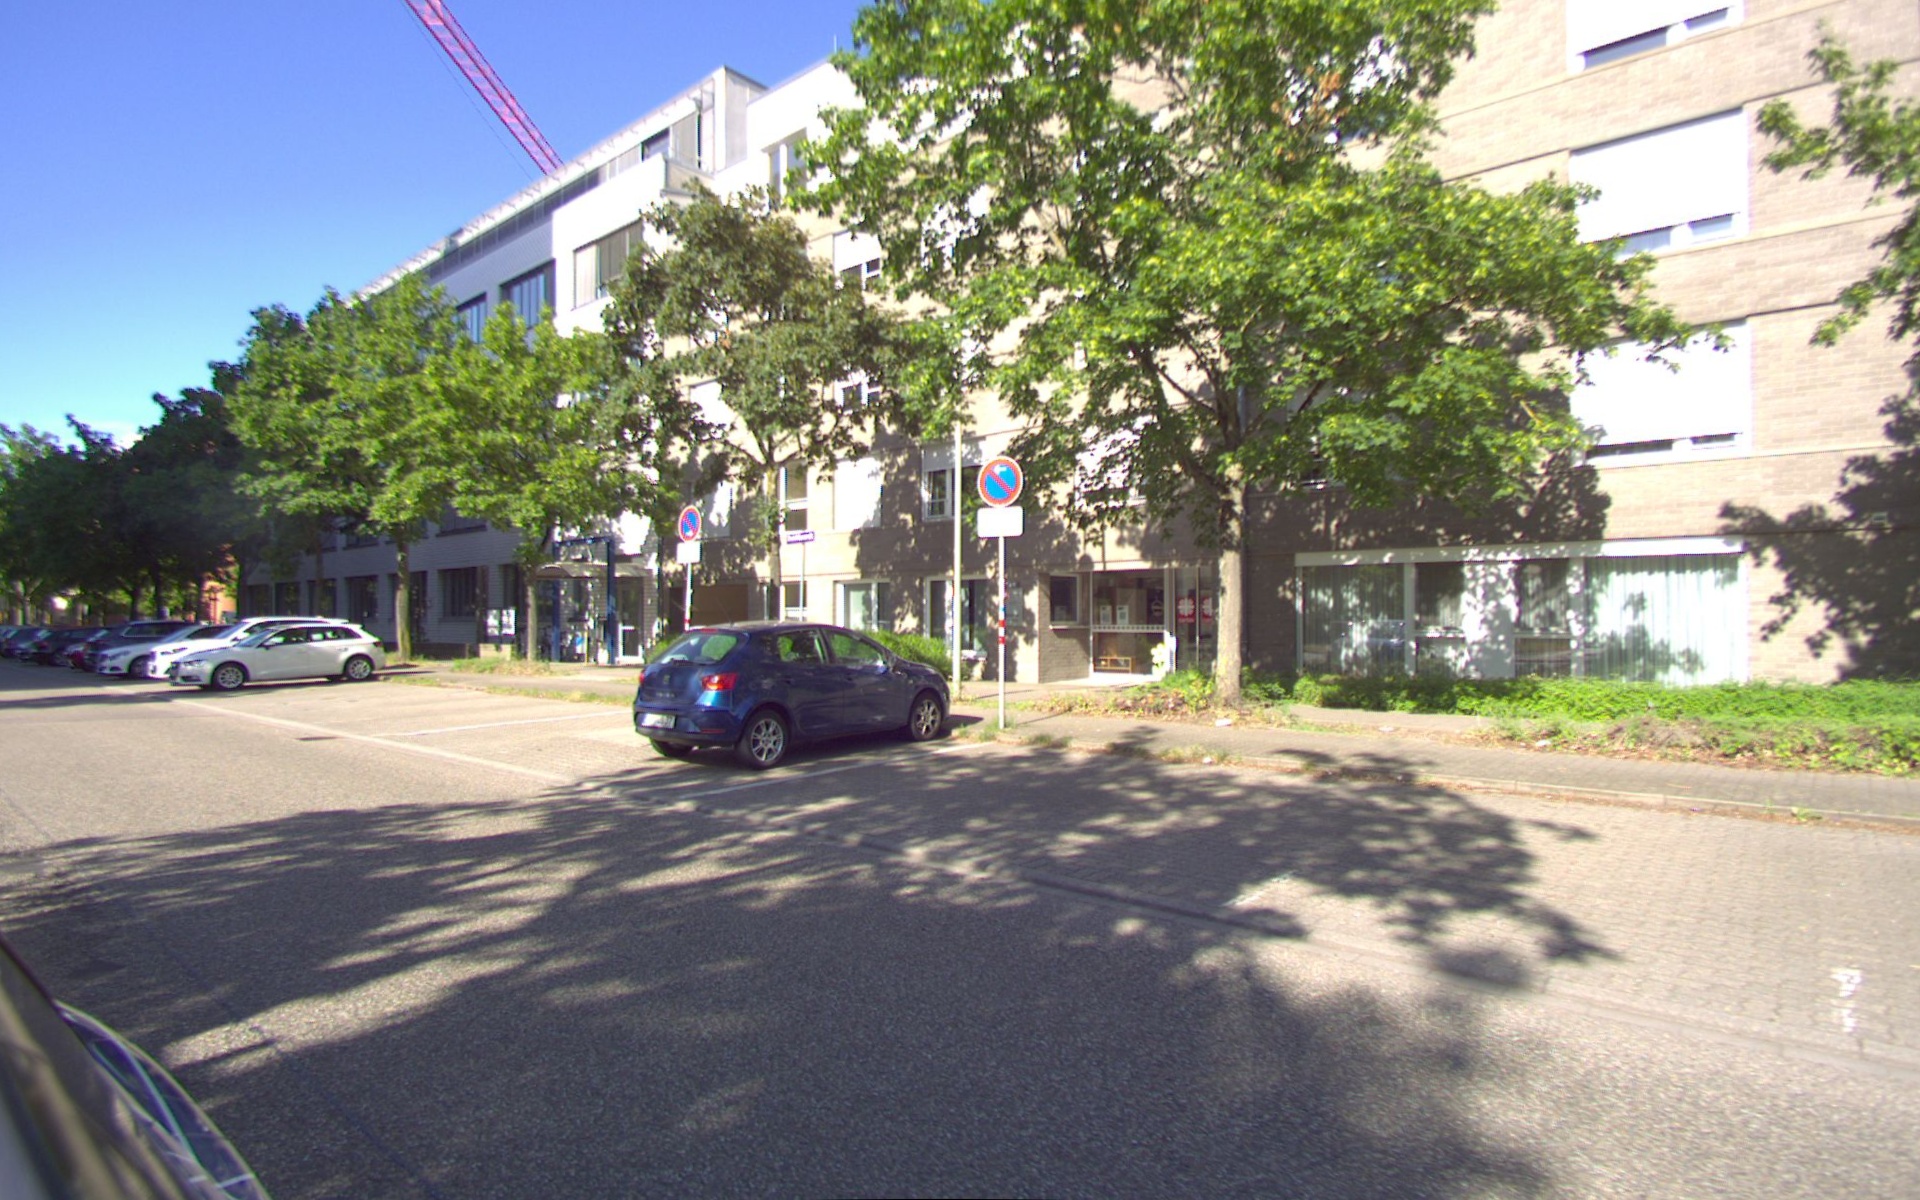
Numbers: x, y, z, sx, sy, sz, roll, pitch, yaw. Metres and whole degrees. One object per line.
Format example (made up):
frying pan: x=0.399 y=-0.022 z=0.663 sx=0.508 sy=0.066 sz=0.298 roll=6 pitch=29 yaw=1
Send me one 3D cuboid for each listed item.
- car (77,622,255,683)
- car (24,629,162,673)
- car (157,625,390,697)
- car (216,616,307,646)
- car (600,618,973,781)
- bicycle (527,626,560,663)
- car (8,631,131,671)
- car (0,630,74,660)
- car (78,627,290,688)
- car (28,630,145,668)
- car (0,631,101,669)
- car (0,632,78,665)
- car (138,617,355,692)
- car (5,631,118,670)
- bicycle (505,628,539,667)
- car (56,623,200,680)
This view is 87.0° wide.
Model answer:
car: x=-24.385 y=1.561 z=31.172 sx=1.803 sy=1.632 sz=4.068 roll=-2 pitch=-1 yaw=42
car: x=-32.994 y=1.923 z=38.586 sx=1.686 sy=1.424 sz=3.784 roll=-3 pitch=-1 yaw=39
car: x=-15.983 y=1.367 z=23.737 sx=1.799 sy=1.491 sz=4.215 roll=-2 pitch=-2 yaw=40
car: x=-51.528 y=2.268 z=74.769 sx=1.931 sy=2.114 sz=5.262 roll=-1 pitch=-1 yaw=39
car: x=-1.752 y=0.947 z=11.301 sx=1.814 sy=1.422 sz=3.950 roll=-1 pitch=-1 yaw=37
bicycle: x=-13.701 y=1.464 z=33.262 sx=1.627 sy=1.184 sz=0.334 roll=-1 pitch=-1 yaw=42
car: x=-35.301 y=1.989 z=40.177 sx=1.656 sy=1.447 sz=3.494 roll=-1 pitch=-1 yaw=39
car: x=-51.142 y=2.435 z=55.547 sx=1.616 sy=1.519 sz=3.585 roll=-1 pitch=-1 yaw=39
car: x=-22.090 y=1.590 z=28.987 sx=1.938 sy=1.462 sz=4.467 roll=-2 pitch=0 yaw=37
car: x=-36.948 y=2.031 z=42.860 sx=1.655 sy=1.456 sz=3.496 roll=-1 pitch=-1 yaw=37
car: x=-40.892 y=2.207 z=45.312 sx=1.645 sy=1.517 sz=3.494 roll=-1 pitch=-1 yaw=39
car: x=-44.135 y=2.293 z=48.308 sx=1.389 sy=1.454 sz=2.895 roll=-1 pitch=-1 yaw=40
car: x=-18.144 y=1.313 z=25.877 sx=1.952 sy=1.614 sz=4.181 roll=-1 pitch=1 yaw=41
car: x=-38.871 y=2.151 z=43.824 sx=1.656 sy=1.541 sz=3.483 roll=-1 pitch=-1 yaw=39
bicycle: x=-13.962 y=1.498 z=32.265 sx=1.627 sy=1.184 sz=0.334 roll=-1 pitch=-1 yaw=42
car: x=-27.678 y=1.666 z=33.742 sx=1.655 sy=1.681 sz=3.533 roll=-2 pitch=-1 yaw=43
